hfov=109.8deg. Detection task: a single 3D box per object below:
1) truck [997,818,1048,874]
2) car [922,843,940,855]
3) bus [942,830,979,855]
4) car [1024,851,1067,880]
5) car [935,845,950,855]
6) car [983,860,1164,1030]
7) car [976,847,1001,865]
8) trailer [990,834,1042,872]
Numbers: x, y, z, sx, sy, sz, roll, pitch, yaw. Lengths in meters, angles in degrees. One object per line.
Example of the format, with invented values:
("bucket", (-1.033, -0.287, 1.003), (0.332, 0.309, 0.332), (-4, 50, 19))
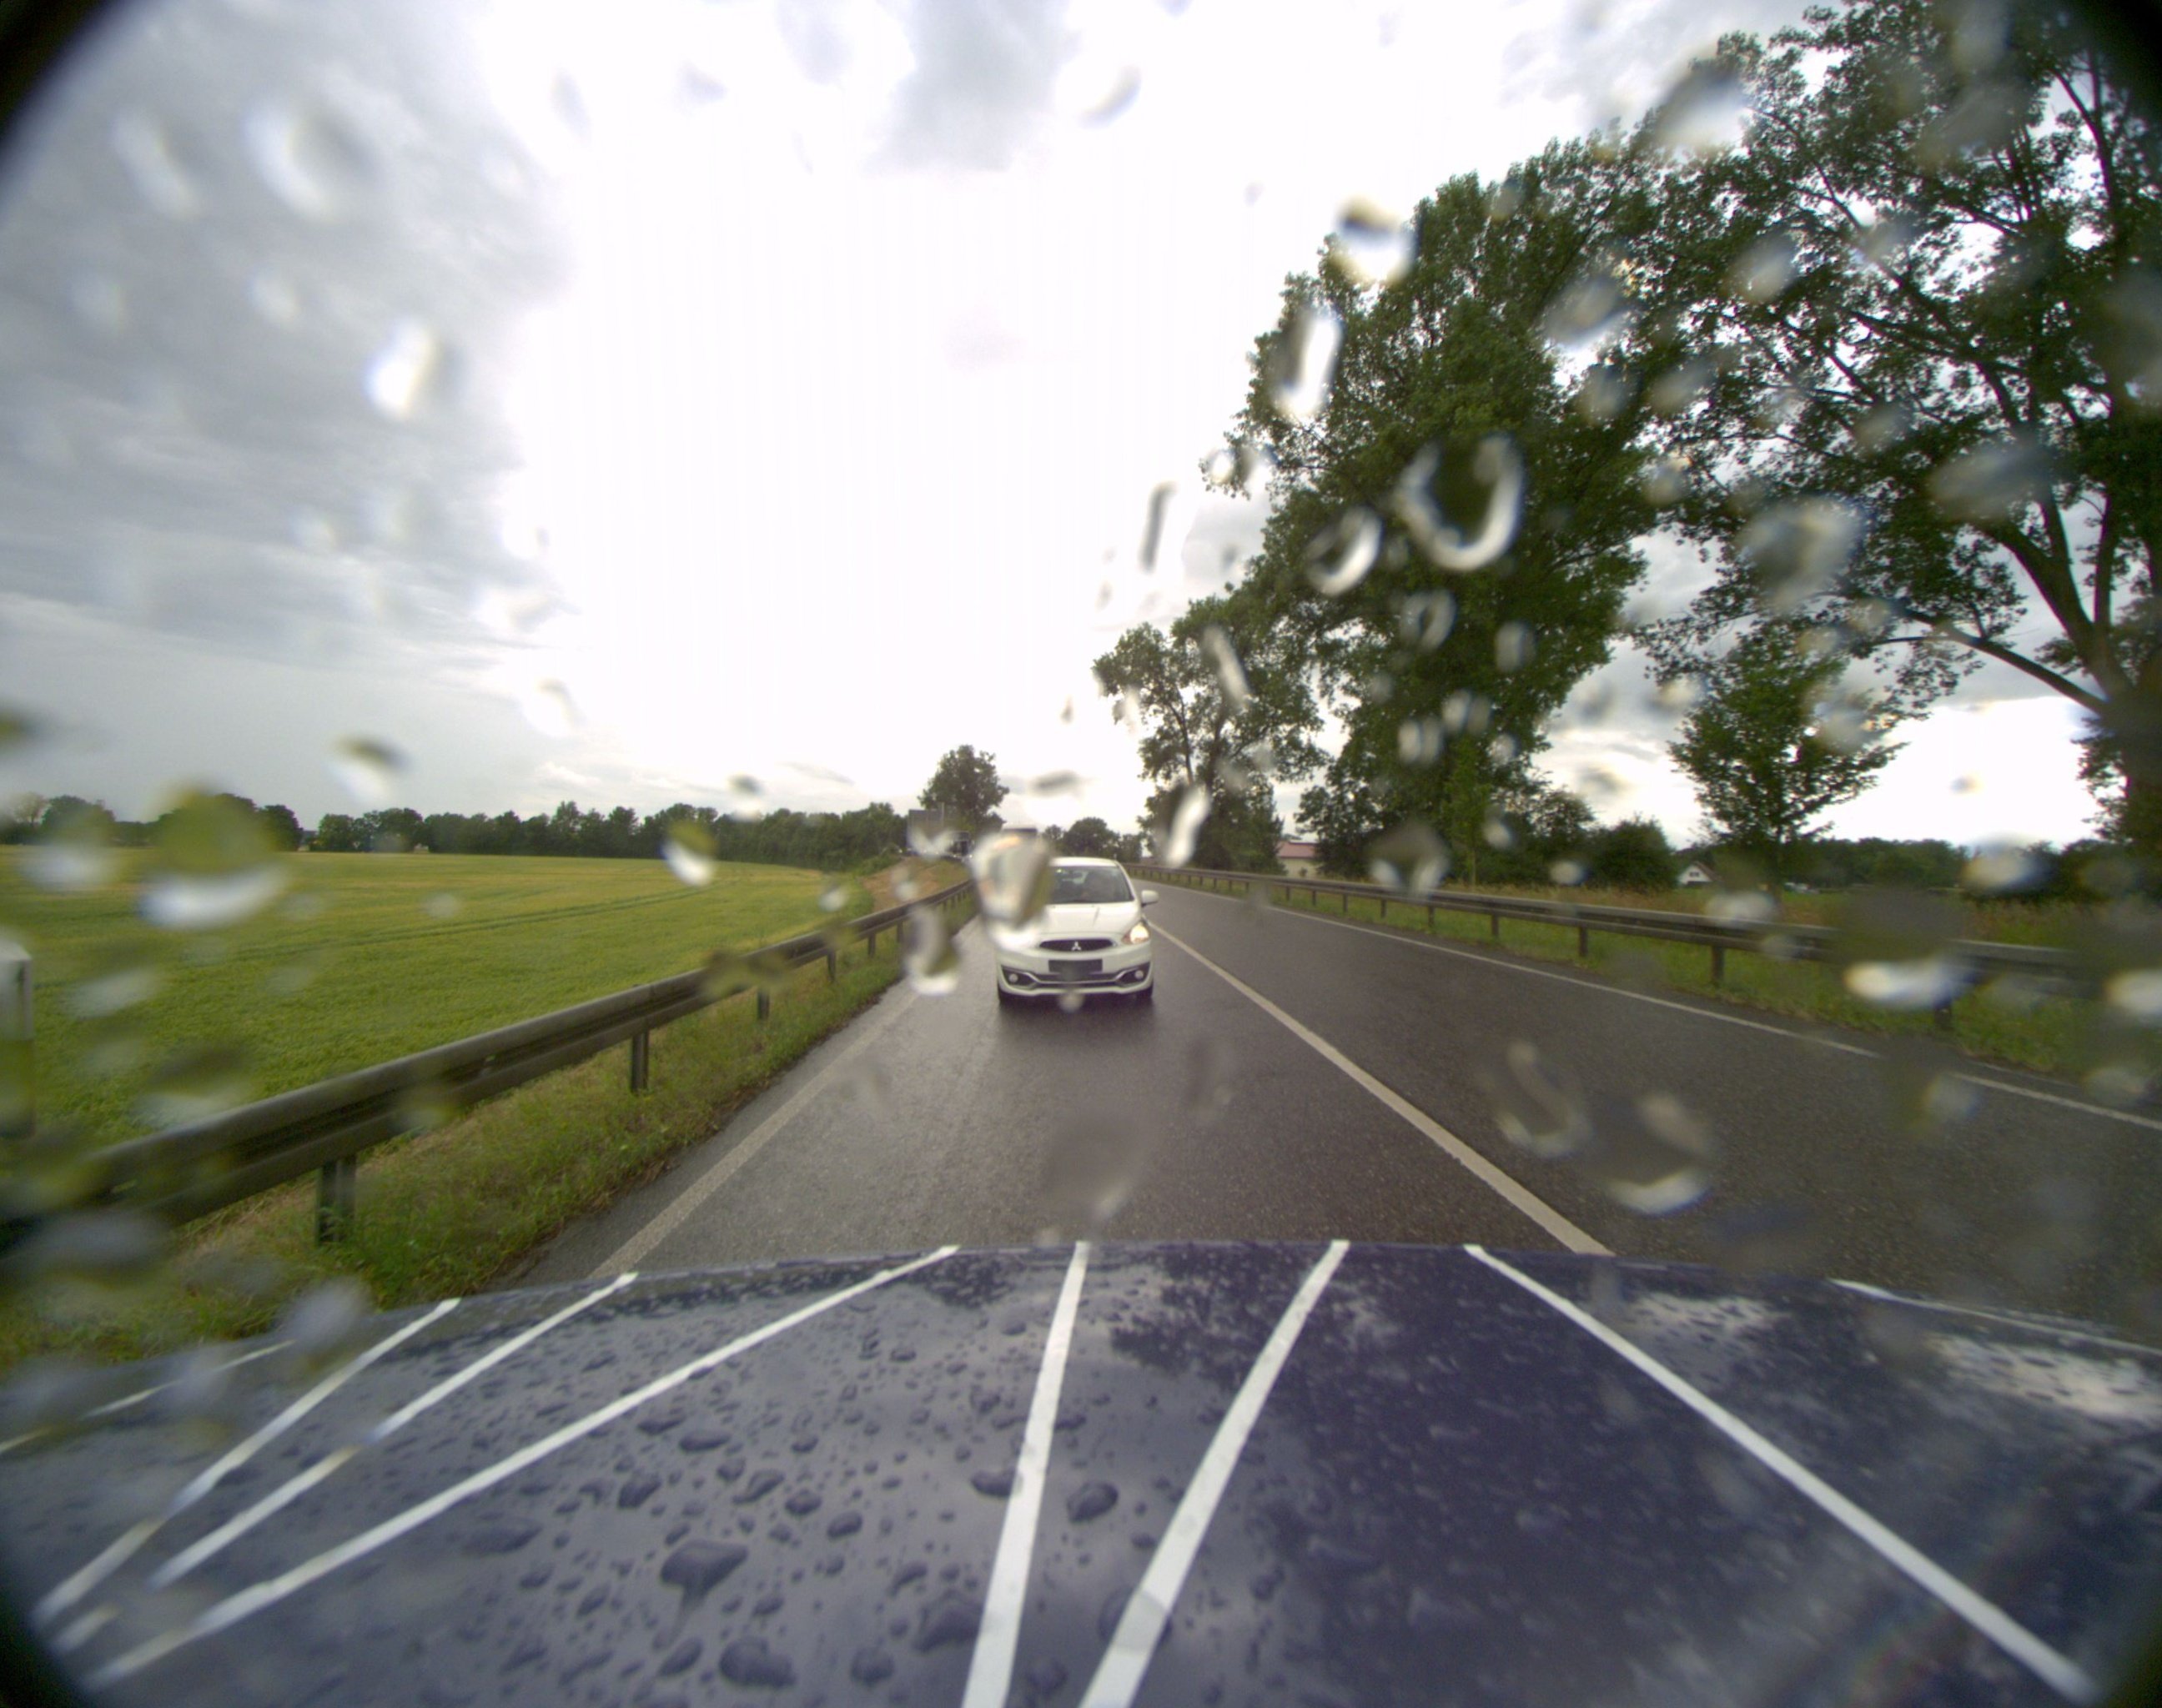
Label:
("truck", (-4.182, -0.533, 53.116), (2.986, 3.589, 6.075), (-2, 1, -9))
("car", (-27.677, -0.928, 140.071), (2.002, 2.002, 5.325), (-2, 1, -23))
("bus", (-17.502, -1.619, 109.117), (2.968, 3.294, 14.812), (-2, 2, -17))
("car", (-1.923, 0.583, 40.176), (1.782, 1.380, 4.325), (-2, 1, -8))
("car", (-23.106, -0.587, 126.677), (1.816, 1.569, 3.993), (-2, 1, -18))
("car", (-0.139, 0.872, 9.166), (1.653, 1.461, 4.028), (-2, 1, -2))
("car", (-10.124, 0.180, 82.998), (2.044, 1.832, 5.329), (-2, 1, -14))
("trailer", (-5.492, -0.116, 61.563), (2.986, 2.618, 15.667), (-2, 1, -9))
